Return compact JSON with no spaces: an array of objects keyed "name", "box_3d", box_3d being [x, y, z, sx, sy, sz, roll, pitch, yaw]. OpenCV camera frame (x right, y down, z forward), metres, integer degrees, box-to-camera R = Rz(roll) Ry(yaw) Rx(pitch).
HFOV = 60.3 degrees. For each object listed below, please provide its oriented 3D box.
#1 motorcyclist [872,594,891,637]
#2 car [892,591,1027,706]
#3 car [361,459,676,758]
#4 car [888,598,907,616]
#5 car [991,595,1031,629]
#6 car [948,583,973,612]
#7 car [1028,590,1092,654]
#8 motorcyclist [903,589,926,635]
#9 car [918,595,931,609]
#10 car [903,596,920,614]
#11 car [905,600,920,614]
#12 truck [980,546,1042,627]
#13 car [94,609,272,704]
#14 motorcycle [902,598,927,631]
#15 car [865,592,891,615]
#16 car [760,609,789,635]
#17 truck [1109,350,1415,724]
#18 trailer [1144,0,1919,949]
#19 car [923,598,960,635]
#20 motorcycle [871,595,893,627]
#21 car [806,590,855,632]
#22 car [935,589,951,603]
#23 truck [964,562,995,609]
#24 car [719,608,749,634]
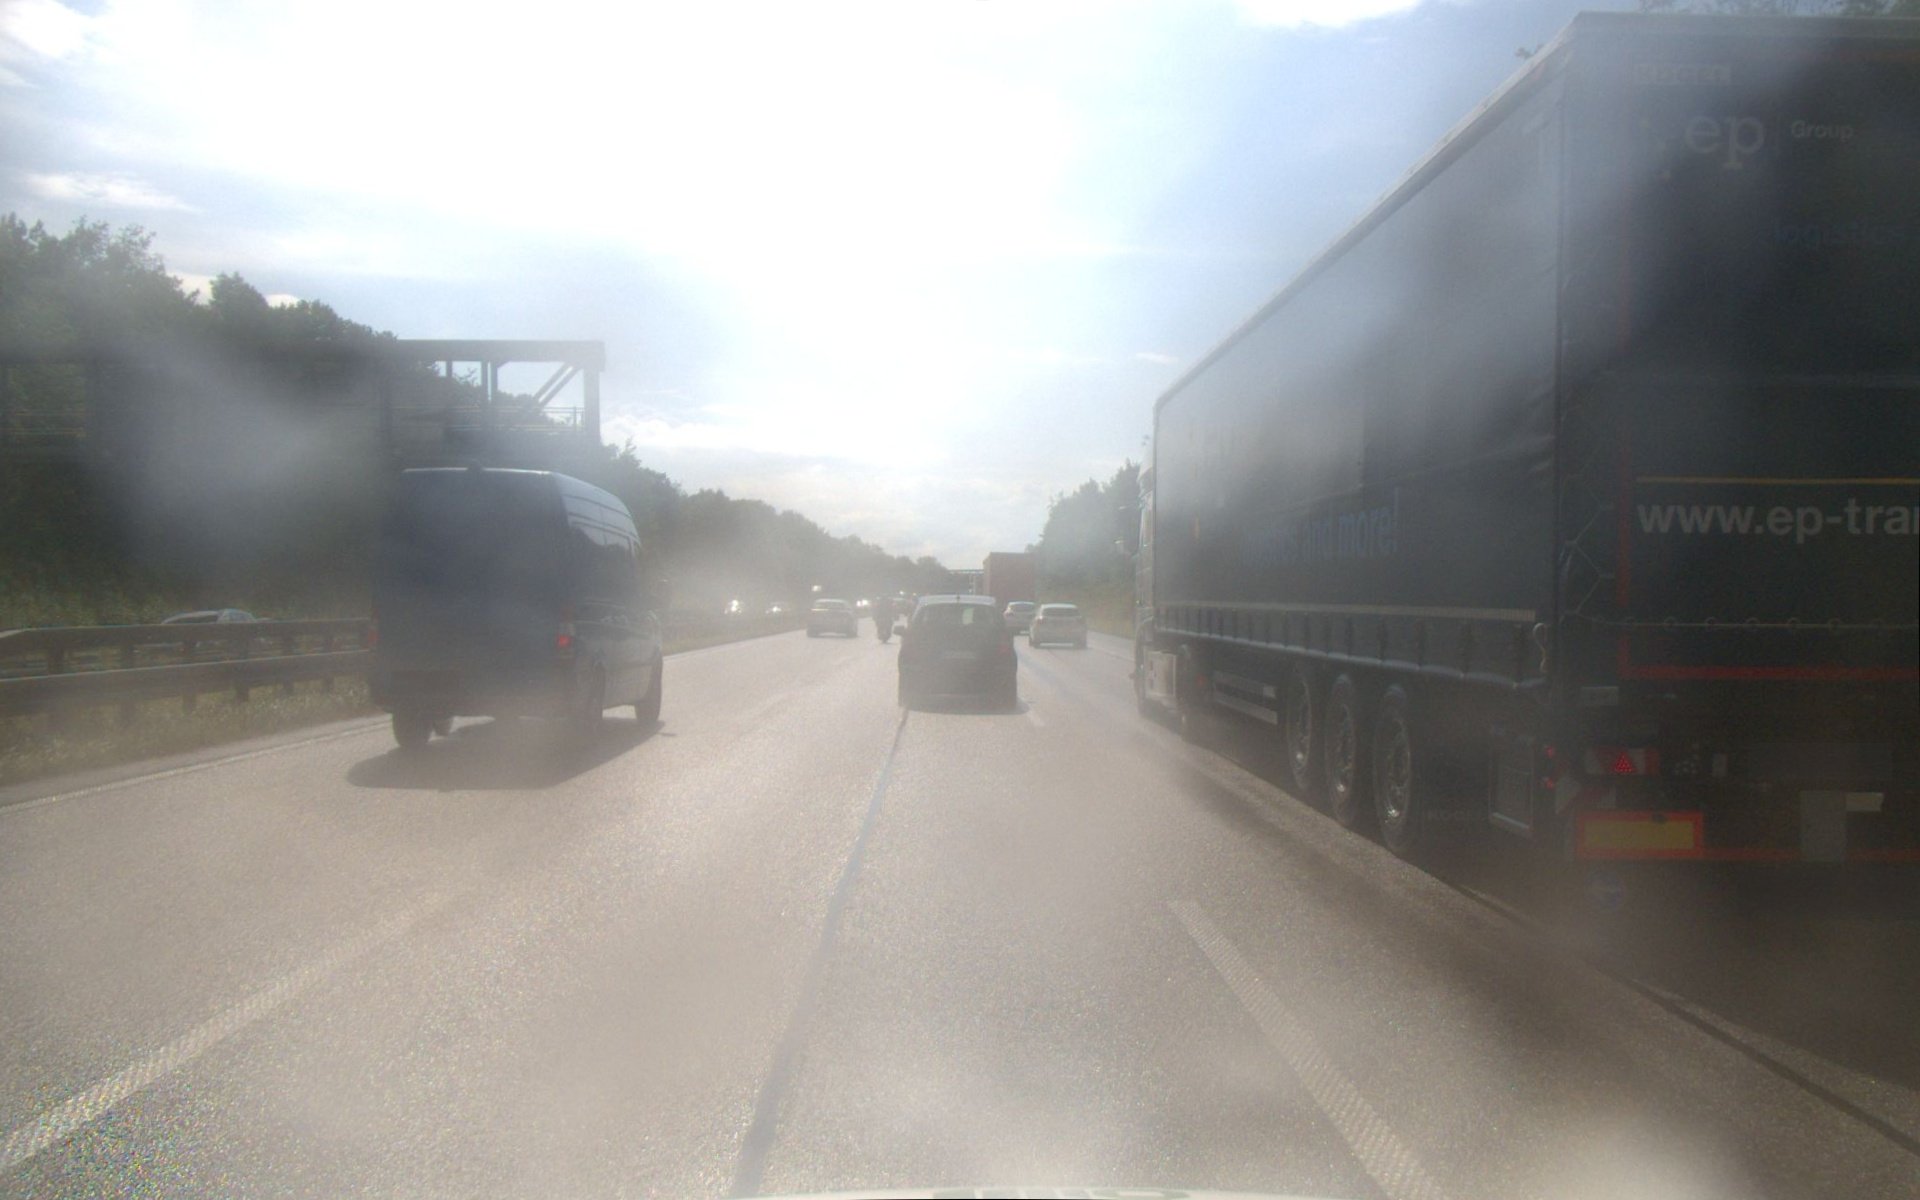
[{"name":"motorcyclist","box_3d":[-2.733,0.544,57.522,0.657,1.467,1.019,1,-1,-4]},{"name":"car","box_3d":[-0.067,0.683,25.296,1.876,1.592,4.312,0,0,-2]},{"name":"car","box_3d":[-4.489,0.079,17.865,1.975,2.695,5.775,0,0,-2]},{"name":"car","box_3d":[-5.707,0.668,151.033,1.641,1.625,3.435,0,0,-2]},{"name":"car","box_3d":[2.307,0.538,75.849,1.641,1.516,3.435,0,0,-2]},{"name":"car","box_3d":[0.017,-0.146,115.054,1.641,1.970,3.772,0,0,-2]},{"name":"car","box_3d":[3.311,0.721,55.263,1.811,2.049,4.086,1,0,-1]},{"name":"motorcyclist","box_3d":[-1.824,0.467,65.885,0.805,1.791,1.388,1,0,-6]},{"name":"car","box_3d":[-5.207,0.332,241.667,1.953,2.049,3.999,1,0,-2]},{"name":"car","box_3d":[-5.710,0.578,195.739,1.953,2.049,3.999,1,0,-2]},{"name":"car","box_3d":[-5.062,0.739,176.732,1.641,1.516,3.435,0,0,-2]},{"name":"truck","box_3d":[2.890,-0.753,96.251,3.137,4.481,9.430,1,0,-1]},{"name":"car","box_3d":[-17.915,1.251,38.388,1.953,2.049,4.731,1,0,-1]},{"name":"motorcycle","box_3d":[-1.831,0.554,65.949,0.804,1.285,2.115,1,0,-6]},{"name":"car","box_3d":[-6.104,0.246,123.060,1.855,1.656,4.193,0,0,-2]},{"name":"car","box_3d":[-15.024,1.777,134.147,1.953,2.049,4.731,1,0,-1]},{"name":"truck","box_3d":[3.865,-0.733,22.618,2.990,4.401,5.885,1,0,-1]},{"name":"trailer","box_3d":[3.975,-0.723,14.053,3.025,4.388,14.102,0,0,-1]},{"name":"car","box_3d":[-1.075,0.912,92.597,1.953,2.049,3.998,1,0,-2]},{"name":"motorcycle","box_3d":[-2.719,0.369,57.496,0.662,1.106,1.980,1,0,-4]},{"name":"car","box_3d":[-5.178,0.425,66.451,1.723,1.622,4.329,0,0,-2]},{"name":"car","box_3d":[-1.851,-0.400,179.081,1.599,1.516,3.435,0,0,-2]},{"name":"truck","box_3d":[2.052,-1.462,176.994,2.823,4.769,12.654,1,0,-1]},{"name":"car","box_3d":[-18.684,1.741,136.966,1.953,2.049,4.731,1,0,-1]}]
